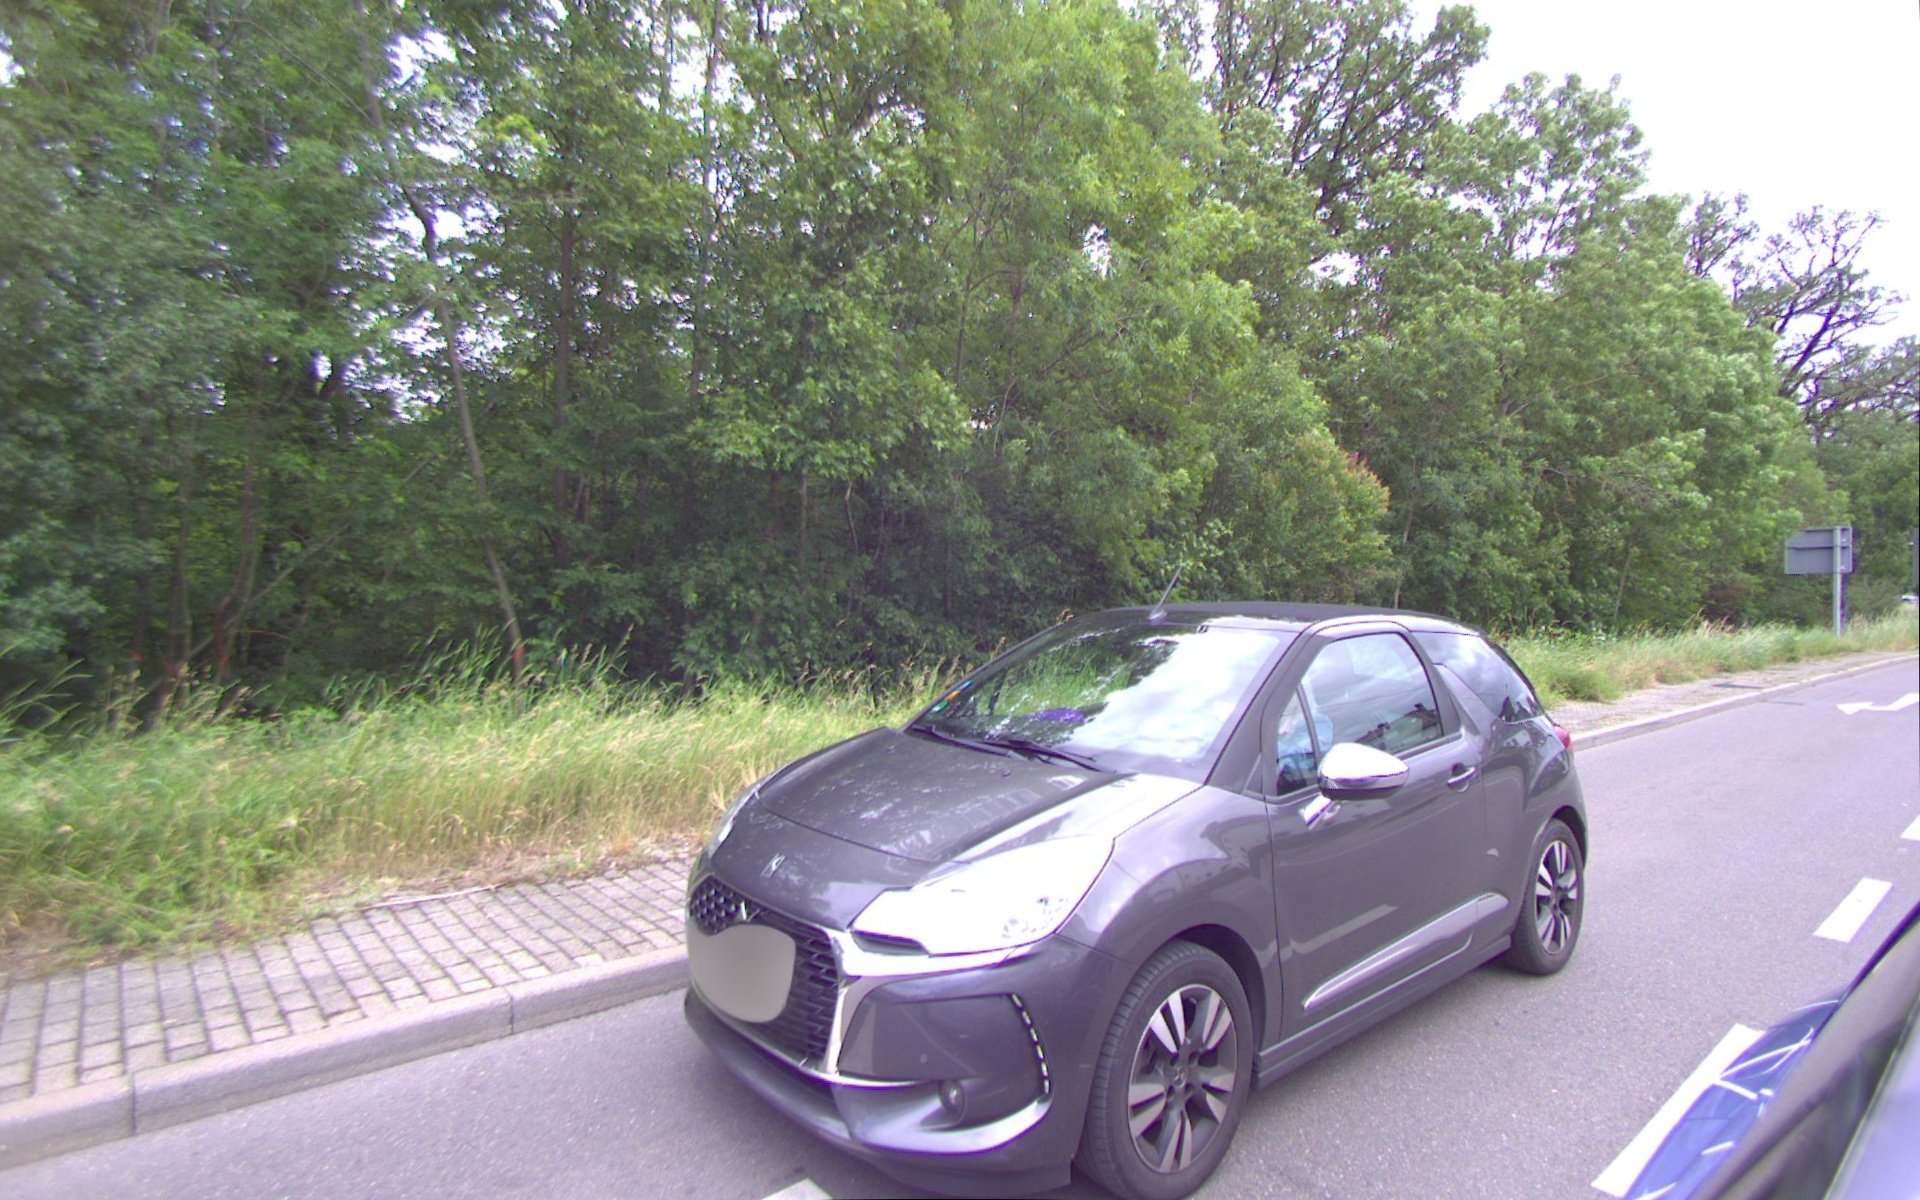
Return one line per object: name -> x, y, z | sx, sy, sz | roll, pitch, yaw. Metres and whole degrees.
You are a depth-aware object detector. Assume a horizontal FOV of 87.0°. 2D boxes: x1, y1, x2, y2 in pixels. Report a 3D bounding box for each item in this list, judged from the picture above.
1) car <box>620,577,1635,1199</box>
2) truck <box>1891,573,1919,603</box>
car -> 0.898, 0.678, 3.806 | 3.786, 1.476, 1.729 | 0, 0, -40
truck -> 120.361, -1.496, 128.395 | 2.995, 3.685, 6.985 | 1, 1, 40
